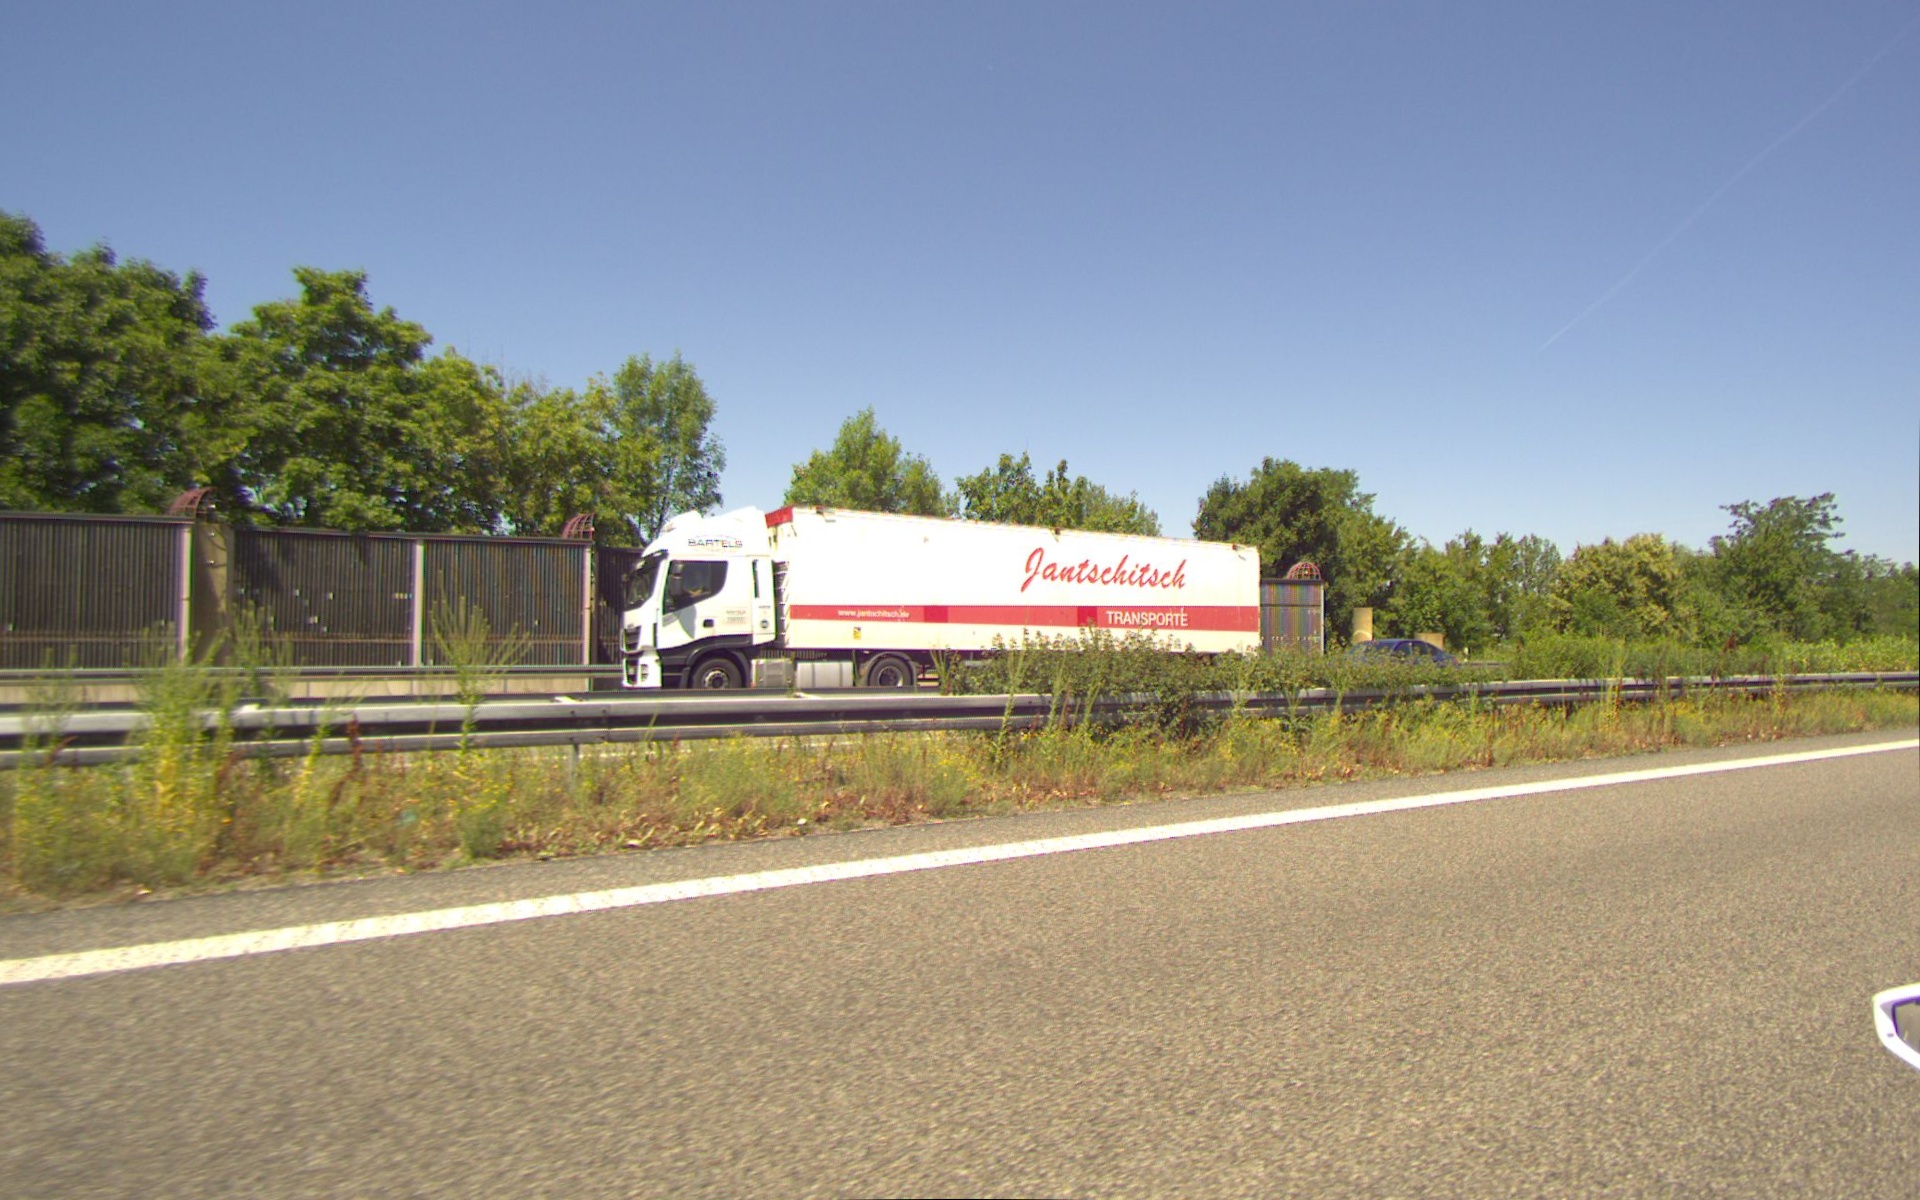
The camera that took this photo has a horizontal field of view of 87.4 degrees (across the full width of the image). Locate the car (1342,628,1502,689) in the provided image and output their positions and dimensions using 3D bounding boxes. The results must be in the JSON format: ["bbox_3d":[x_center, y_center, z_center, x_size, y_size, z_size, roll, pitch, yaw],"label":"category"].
[{"bbox_3d":[12.156,1.502,26.347,4.165,1.438,1.888,2,-1,-33],"label":"car"}]

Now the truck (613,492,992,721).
[{"bbox_3d":[-3.299,0.198,21.865,7.623,4.263,2.829,1,0,-30],"label":"truck"}]

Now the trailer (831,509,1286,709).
[{"bbox_3d":[2.912,0.324,25.476,12.077,4.229,2.829,1,0,-30],"label":"trailer"}]
